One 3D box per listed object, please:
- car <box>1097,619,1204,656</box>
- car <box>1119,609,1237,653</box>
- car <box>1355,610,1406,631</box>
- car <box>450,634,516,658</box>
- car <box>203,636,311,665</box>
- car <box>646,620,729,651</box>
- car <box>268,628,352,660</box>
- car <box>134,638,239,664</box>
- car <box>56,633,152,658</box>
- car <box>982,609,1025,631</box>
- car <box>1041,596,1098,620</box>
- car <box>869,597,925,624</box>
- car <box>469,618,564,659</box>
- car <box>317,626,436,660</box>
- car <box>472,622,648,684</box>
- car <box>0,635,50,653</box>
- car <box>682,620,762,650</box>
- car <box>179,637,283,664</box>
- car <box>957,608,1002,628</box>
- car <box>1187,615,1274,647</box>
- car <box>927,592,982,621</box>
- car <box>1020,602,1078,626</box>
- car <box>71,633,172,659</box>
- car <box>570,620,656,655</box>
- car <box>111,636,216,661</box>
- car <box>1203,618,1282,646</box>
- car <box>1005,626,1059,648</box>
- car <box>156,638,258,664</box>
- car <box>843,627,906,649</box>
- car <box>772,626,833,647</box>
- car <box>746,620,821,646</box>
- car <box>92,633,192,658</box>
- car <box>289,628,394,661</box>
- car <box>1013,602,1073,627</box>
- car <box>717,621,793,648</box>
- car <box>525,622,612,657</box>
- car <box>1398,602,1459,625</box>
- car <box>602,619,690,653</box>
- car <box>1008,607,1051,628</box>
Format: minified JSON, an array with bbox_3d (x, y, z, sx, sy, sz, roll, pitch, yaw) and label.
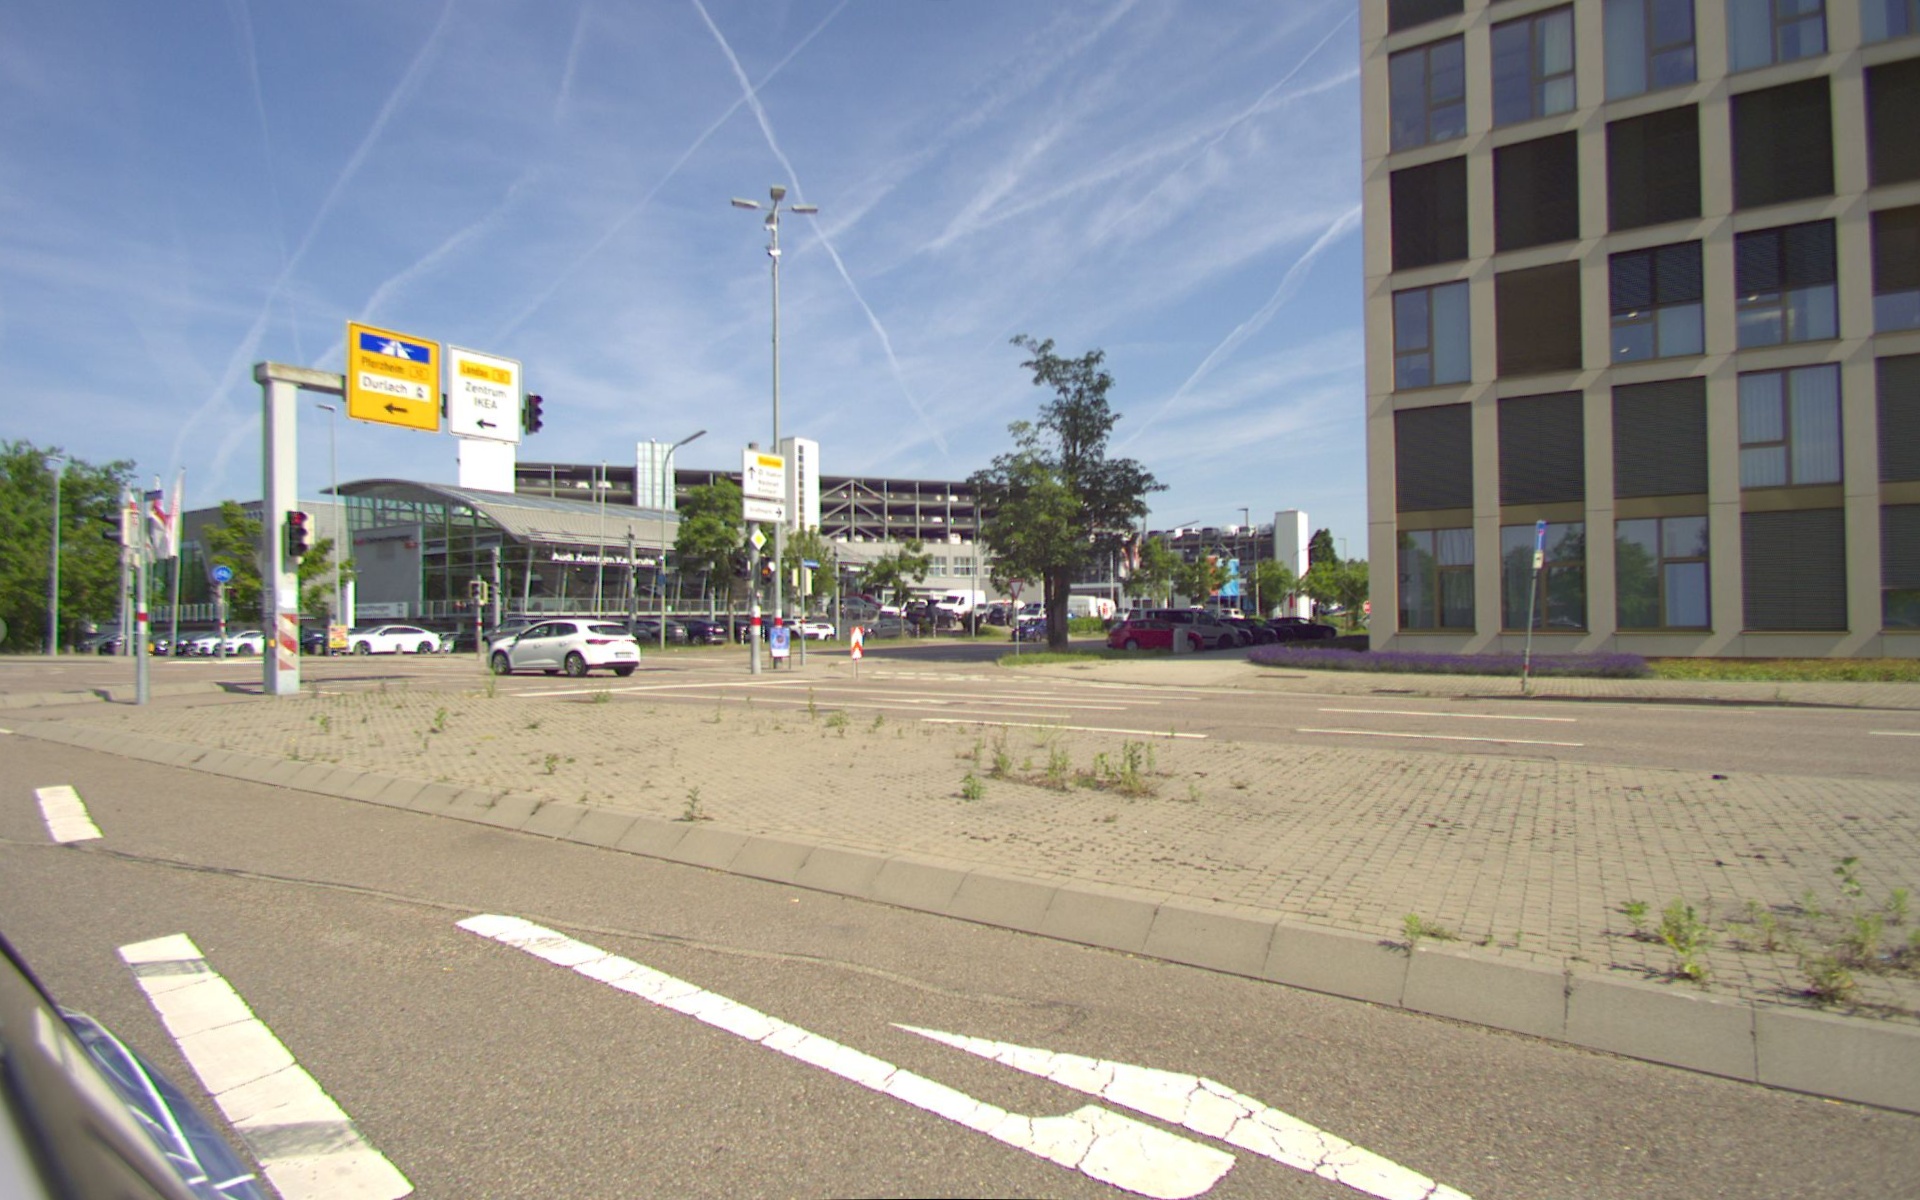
[{"bbox_3d":[7.952,1.553,42.425,3.964,1.426,1.812,-1,-2,-11],"label":"car"},{"bbox_3d":[9.775,1.388,45.523,4.734,1.835,1.902,-1,-2,-12],"label":"car"},{"bbox_3d":[39.530,1.907,95.159,4.225,1.955,1.879,-1,-1,32],"label":"car"},{"bbox_3d":[-27.020,2.578,57.293,3.669,1.316,1.594,-2,-2,31],"label":"car"},{"bbox_3d":[-35.417,2.583,51.072,1.871,1.380,4.042,-2,-4,31],"label":"car"},{"bbox_3d":[-15.279,1.994,56.630,4.657,1.529,1.765,-4,-3,31],"label":"car"},{"bbox_3d":[-31.982,2.157,49.744,4.410,1.507,1.784,-2,-2,32],"label":"car"},{"bbox_3d":[-42.226,2.794,55.321,1.848,1.345,4.144,-2,-4,30],"label":"car"},{"bbox_3d":[-51.651,2.791,61.130,1.802,1.413,3.996,-2,-4,30],"label":"car"},{"bbox_3d":[3.644,1.637,83.453,1.991,1.586,3.947,-2,0,29],"label":"car"},{"bbox_3d":[9.865,0.770,91.384,4.733,2.029,1.979,-2,-2,30],"label":"car"},{"bbox_3d":[-4.659,0.759,75.908,2.080,1.922,4.503,3,2,29],"label":"car"},{"bbox_3d":[-20.763,1.808,47.333,4.580,1.626,1.800,-5,-4,32],"label":"car"},{"bbox_3d":[-26.372,1.920,45.859,1.894,1.443,4.338,-2,-2,33],"label":"car"},{"bbox_3d":[-10.281,1.336,25.985,4.310,1.472,1.772,-1,-3,26],"label":"car"},{"bbox_3d":[-67.616,3.104,71.864,1.684,1.204,4.154,-2,-4,32],"label":"car"},{"bbox_3d":[-13.847,2.034,58.777,4.614,1.453,1.774,-5,-3,31],"label":"car"},{"bbox_3d":[-37.676,2.655,52.392,1.862,1.329,3.957,-2,-4,31],"label":"car"},{"bbox_3d":[1.660,1.490,85.074,1.993,1.586,3.943,-2,0,32],"label":"car"},{"bbox_3d":[13.716,1.577,51.407,3.899,1.509,1.665,-1,-2,-11],"label":"car"},{"bbox_3d":[-0.395,0.551,86.457,2.082,2.360,5.491,-2,-1,32],"label":"car"},{"bbox_3d":[7.840,1.262,89.111,4.733,2.029,1.979,-2,-2,30],"label":"car"},{"bbox_3d":[-49.376,2.738,59.659,1.795,1.405,4.185,-2,-4,30],"label":"car"},{"bbox_3d":[-17.814,1.948,51.916,4.359,1.556,1.774,-5,-3,31],"label":"car"},{"bbox_3d":[-44.718,2.746,56.938,1.822,1.365,4.250,-2,-4,30],"label":"car"},{"bbox_3d":[16.053,1.821,57.598,3.934,1.426,1.725,-1,-2,-11],"label":"car"},{"bbox_3d":[4.547,2.281,63.540,1.656,1.299,3.758,-2,-1,36],"label":"car"},{"bbox_3d":[-39.888,2.730,53.683,1.832,1.329,3.956,-2,-4,32],"label":"car"},{"bbox_3d":[-5.893,2.599,69.774,3.959,1.453,1.803,0,-2,-32],"label":"car"},{"bbox_3d":[-11.427,2.667,73.562,3.958,1.453,1.803,0,-2,-30],"label":"car"},{"bbox_3d":[-11.082,2.063,63.422,4.542,1.453,1.774,-4,-3,31],"label":"car"},{"bbox_3d":[-47.043,2.657,58.307,1.828,1.365,4.082,-2,-4,29],"label":"car"},{"bbox_3d":[-28.612,2.046,46.948,1.756,1.413,3.808,-2,-2,29],"label":"car"},{"bbox_3d":[7.144,1.281,86.849,4.733,2.029,1.979,-2,-2,30],"label":"car"},{"bbox_3d":[-12.383,2.080,61.061,4.385,1.453,1.774,-4,-3,31],"label":"car"},{"bbox_3d":[-19.154,1.940,49.457,4.184,1.453,1.775,-5,-3,31],"label":"car"},{"bbox_3d":[52.506,1.547,113.431,5.892,2.450,2.347,-1,-1,35],"label":"car"},{"bbox_3d":[-16.877,1.939,54.301,4.759,1.517,1.774,-5,-3,31],"label":"car"},{"bbox_3d":[5.660,1.406,82.273,1.991,1.586,3.947,-2,0,29],"label":"car"}]
